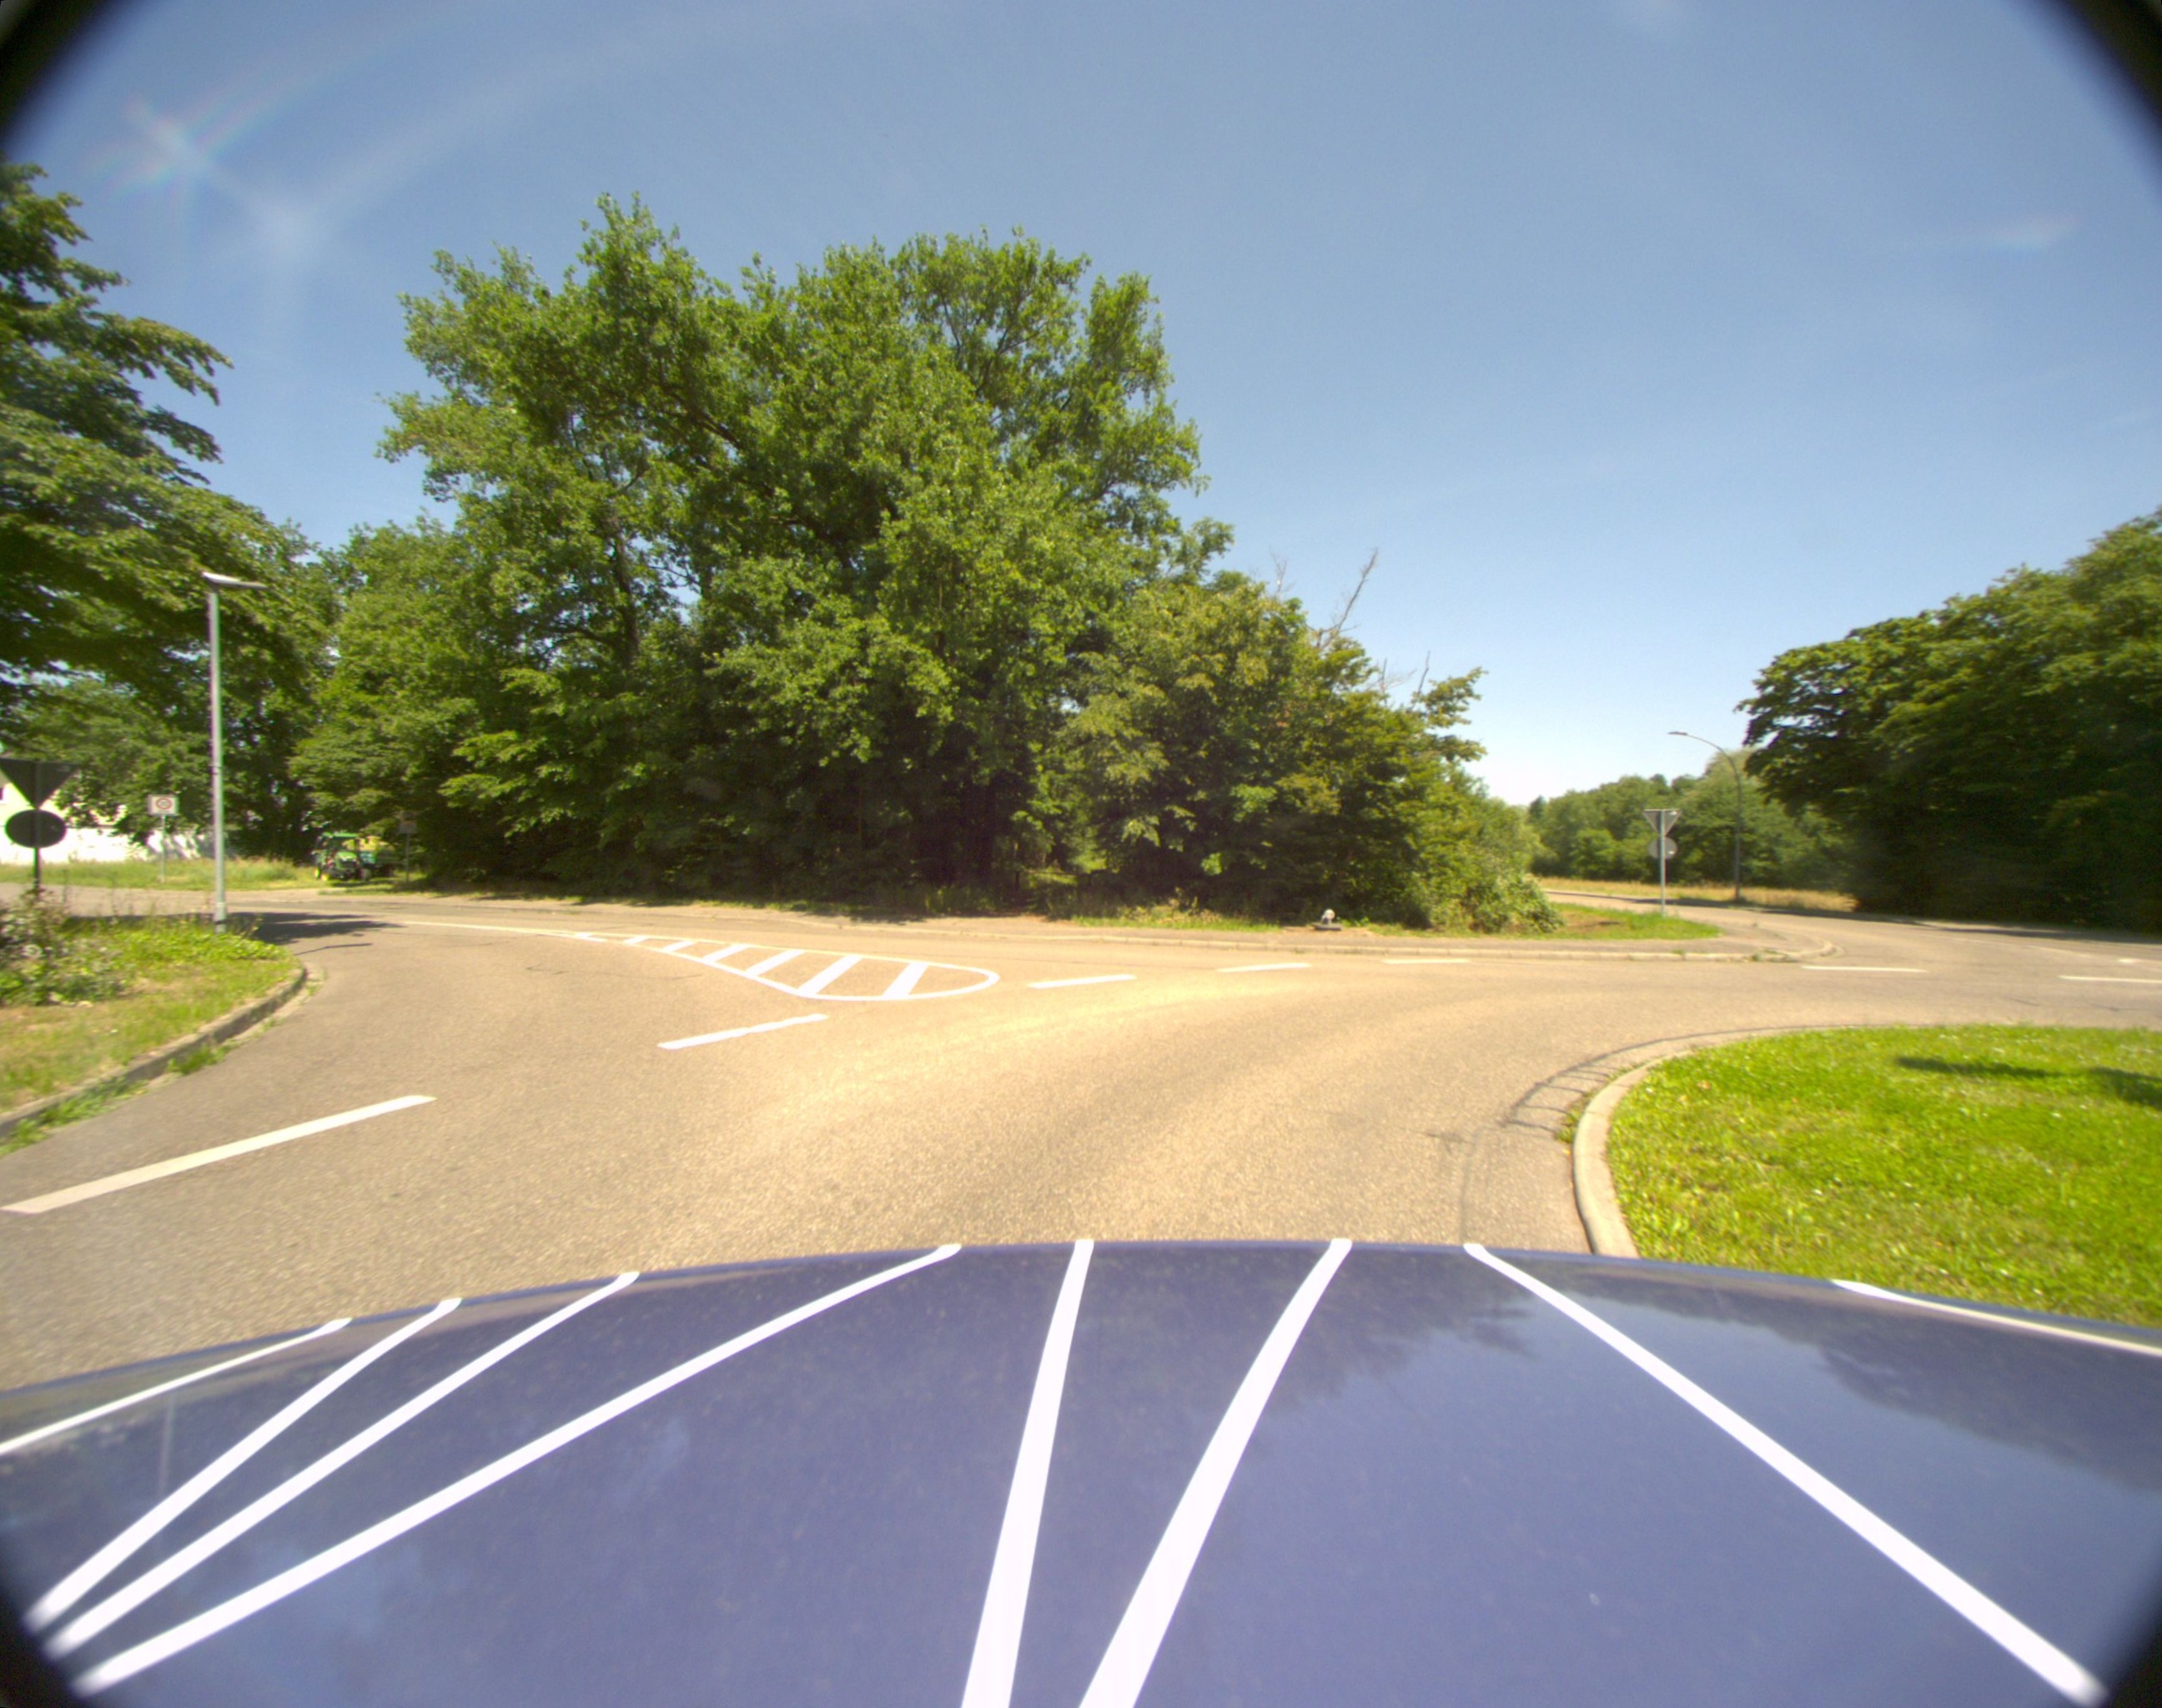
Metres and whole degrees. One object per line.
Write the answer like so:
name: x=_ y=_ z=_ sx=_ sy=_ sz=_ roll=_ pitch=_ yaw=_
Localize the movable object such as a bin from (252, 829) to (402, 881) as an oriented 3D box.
movable object such as a bin: x=-34.496 y=0.024 z=34.813 sx=5.229 sy=2.263 sz=2.526 roll=1 pitch=0 yaw=15
